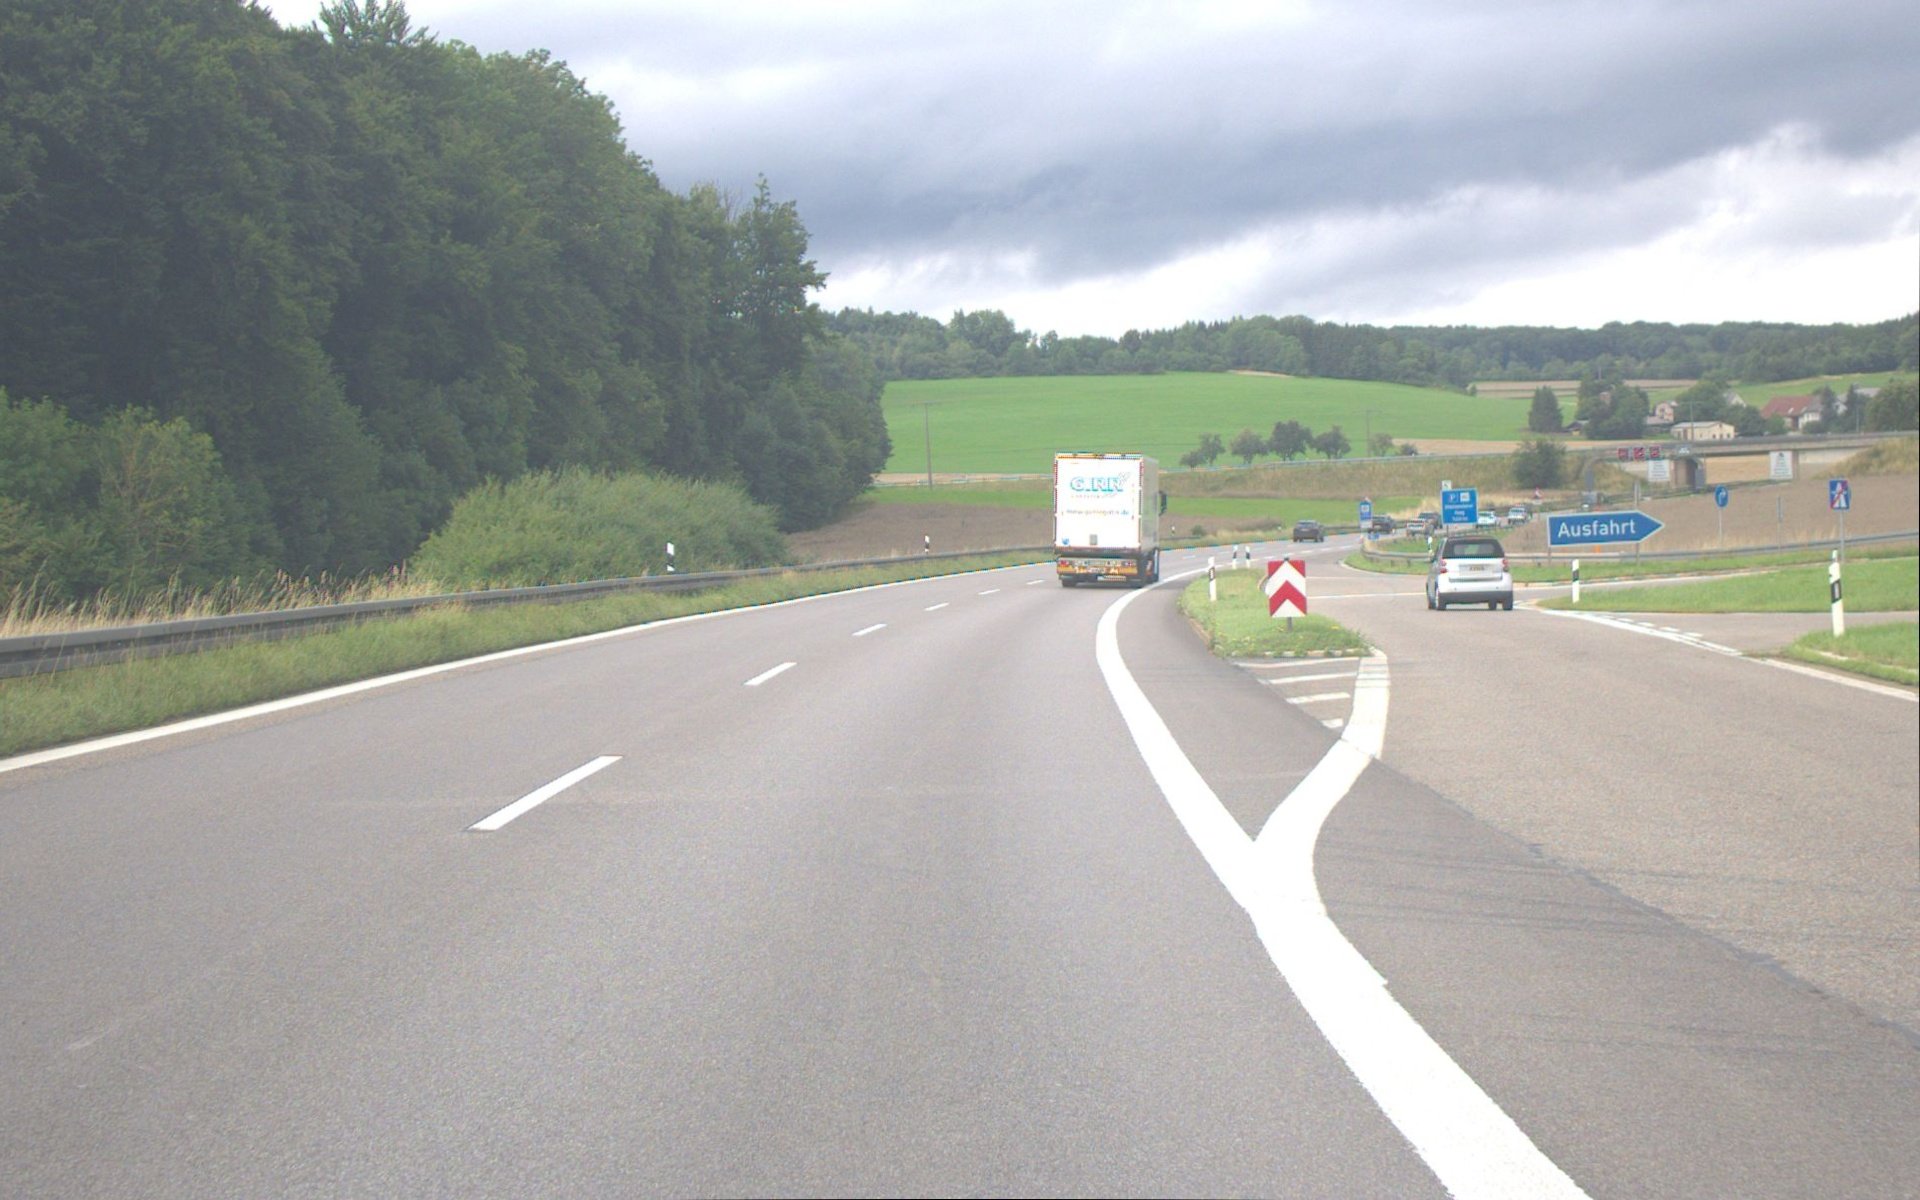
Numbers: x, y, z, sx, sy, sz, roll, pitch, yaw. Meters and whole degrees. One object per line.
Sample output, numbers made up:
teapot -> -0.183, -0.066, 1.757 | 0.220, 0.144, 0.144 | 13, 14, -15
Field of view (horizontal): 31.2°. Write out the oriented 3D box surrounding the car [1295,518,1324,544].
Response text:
car -> 25.787, -5.106, 253.505 | 1.903, 1.789, 3.998 | 0, 0, 9

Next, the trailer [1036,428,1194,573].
trailer -> 4.950, -3.052, 106.270 | 3.806, 4.160, 14.805 | 0, 2, 7

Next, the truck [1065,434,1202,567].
truck -> 5.779, -3.253, 112.957 | 3.789, 4.117, 8.263 | 2, 2, 7

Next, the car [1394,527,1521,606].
car -> 10.433, -0.724, 72.292 | 1.777, 1.546, 4.001 | -1, 2, -4
